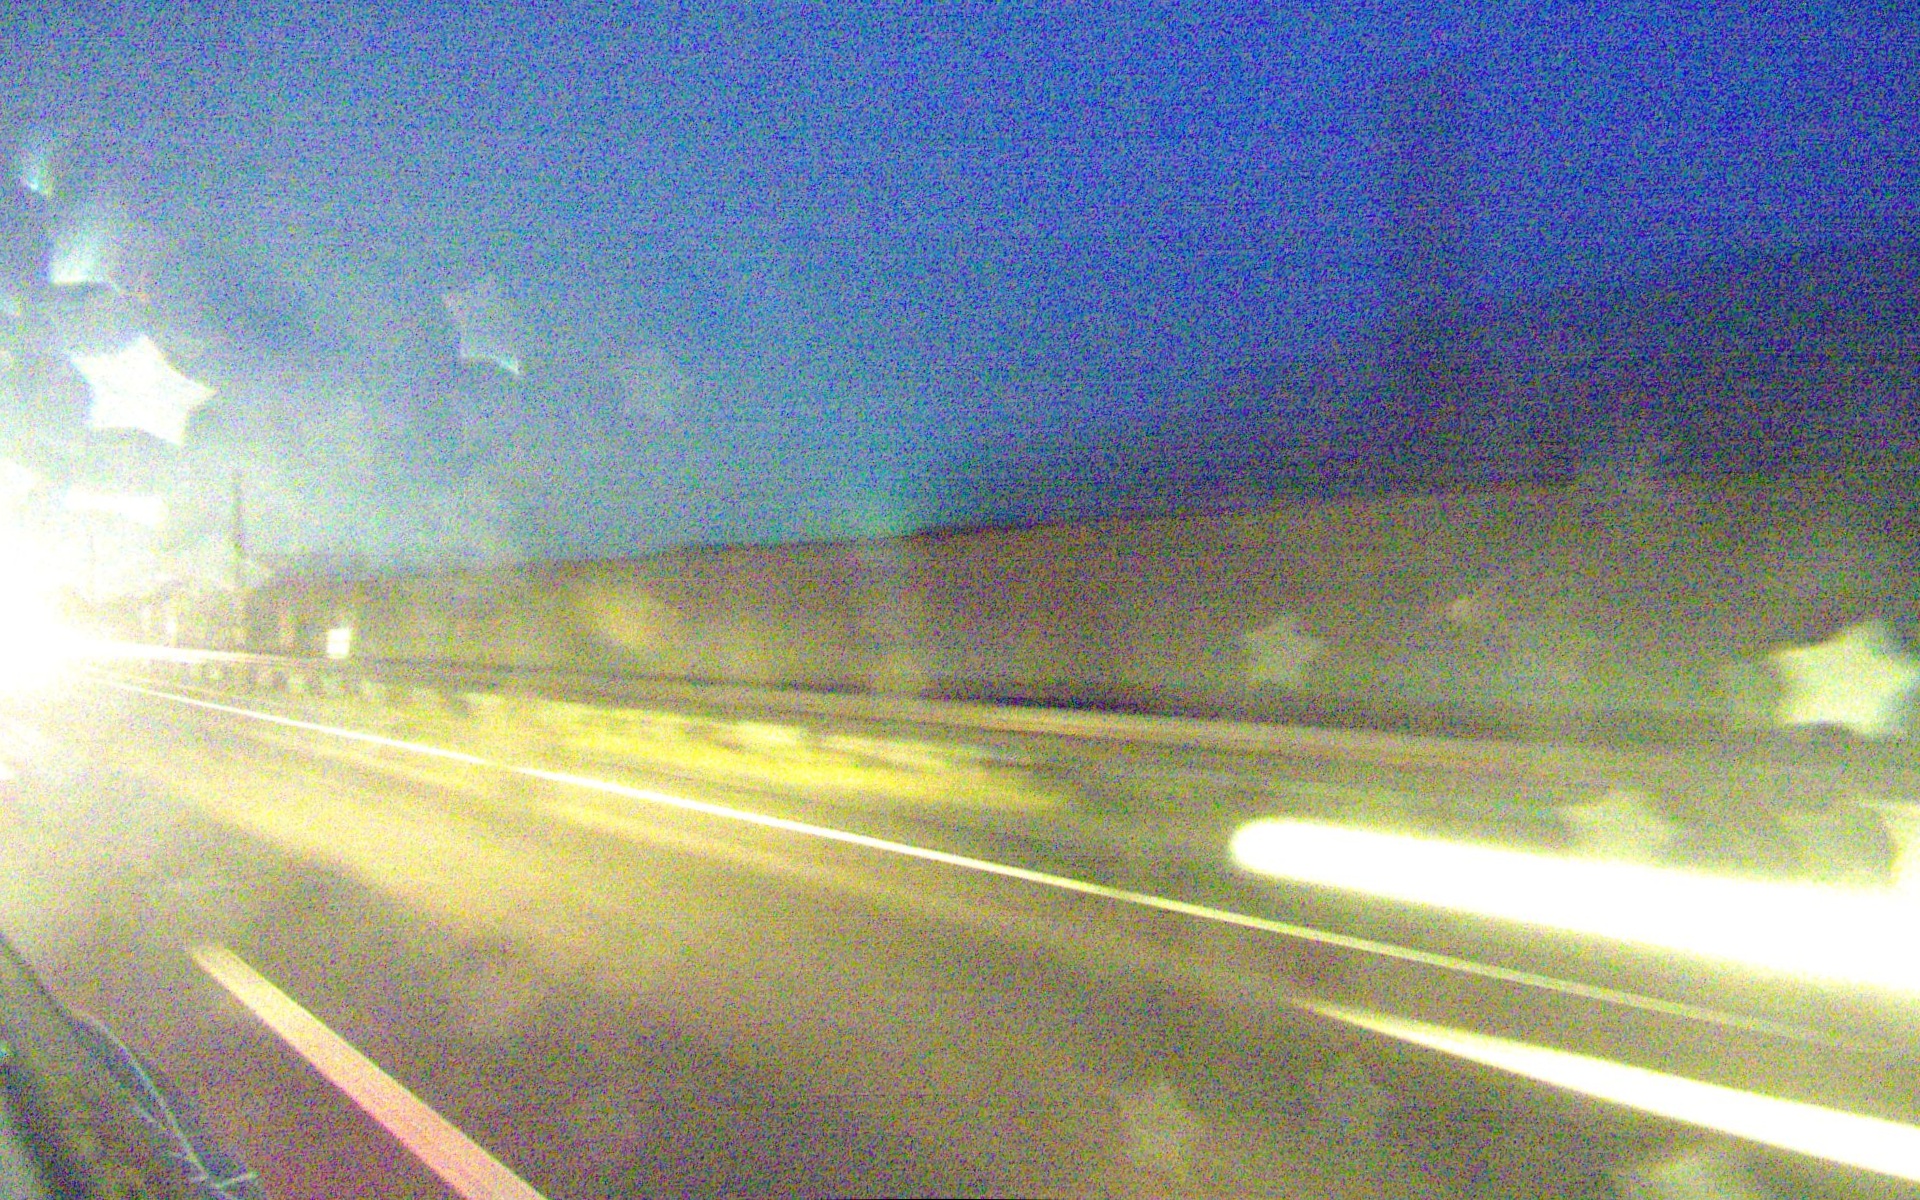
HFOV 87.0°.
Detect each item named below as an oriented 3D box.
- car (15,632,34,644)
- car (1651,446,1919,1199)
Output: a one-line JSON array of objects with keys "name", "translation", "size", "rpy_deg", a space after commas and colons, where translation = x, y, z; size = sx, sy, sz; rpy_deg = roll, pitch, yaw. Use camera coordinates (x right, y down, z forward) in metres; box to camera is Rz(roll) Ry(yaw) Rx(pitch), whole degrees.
[{"name": "car", "translation": [-160.323, 6.495, 173.503], "size": [2.126, 2.029, 5.004], "rpy_deg": [0, -1, -39]}, {"name": "car", "translation": [3.445, 0.507, 1.000], "size": [4.345, 1.587, 1.906], "rpy_deg": [-2, -1, 41]}]
